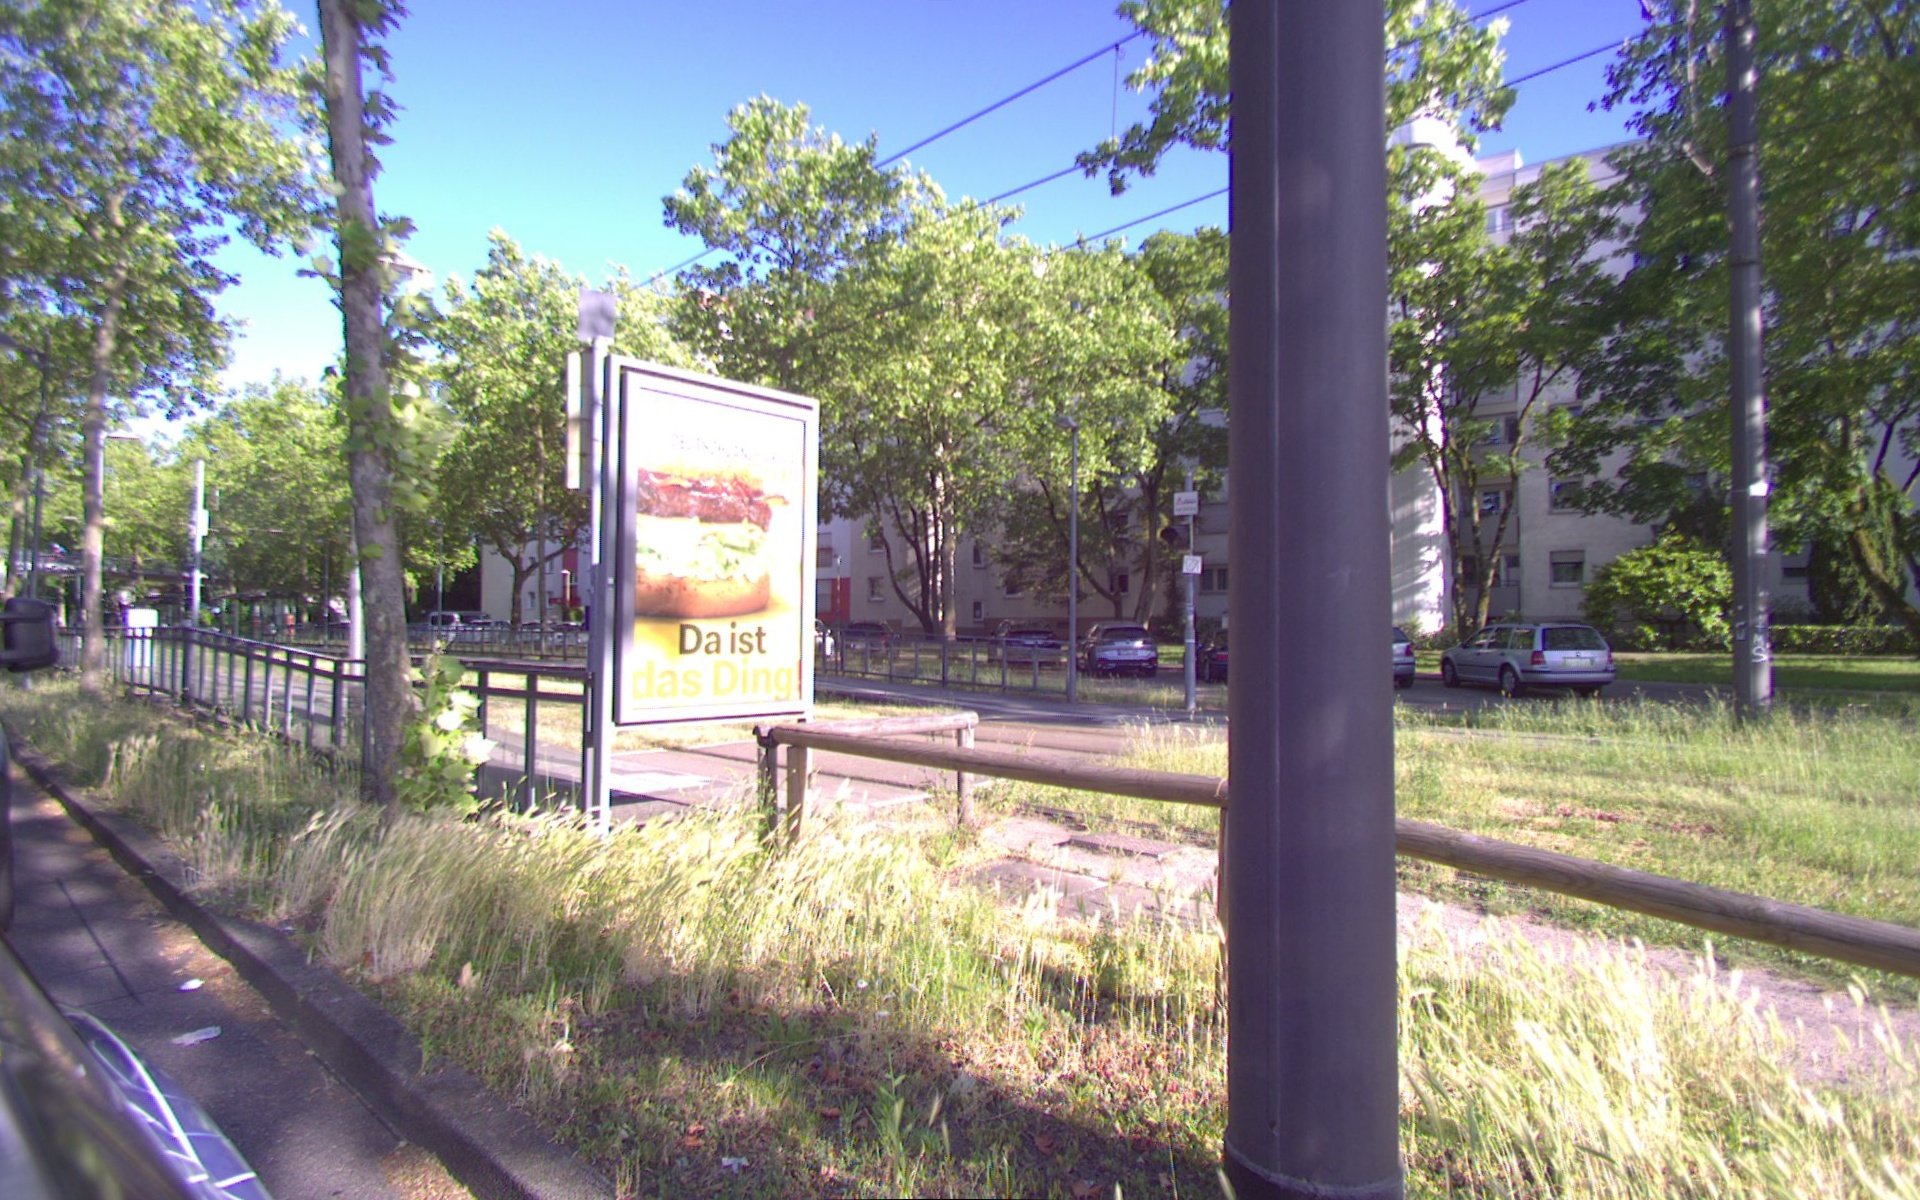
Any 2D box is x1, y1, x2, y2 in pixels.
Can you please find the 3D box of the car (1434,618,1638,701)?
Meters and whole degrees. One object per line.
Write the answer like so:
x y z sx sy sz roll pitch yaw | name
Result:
11.594 1.142 20.737 1.789 1.498 4.049 -1 -1 0 | car

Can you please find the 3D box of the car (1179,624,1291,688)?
6.756 1.337 25.268 1.654 1.398 4.049 -1 -1 0 | car

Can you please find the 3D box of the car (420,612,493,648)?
-28.424 1.669 57.303 1.993 1.934 4.433 -1 -1 -1 | car

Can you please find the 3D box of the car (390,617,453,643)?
-33.005 1.808 62.163 1.770 1.510 4.050 -1 -1 -1 | car

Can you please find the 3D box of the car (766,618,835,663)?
-5.790 1.439 37.072 1.771 1.510 4.047 -1 -1 2 | car

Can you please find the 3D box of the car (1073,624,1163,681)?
4.242 1.374 27.702 1.770 1.398 4.049 -1 -1 0 | car

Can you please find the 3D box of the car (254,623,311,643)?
-53.051 2.549 79.321 1.770 1.510 4.050 -1 -1 -1 | car

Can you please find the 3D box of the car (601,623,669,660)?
-14.219 1.797 44.488 1.770 1.510 4.050 -1 -1 -1 | car

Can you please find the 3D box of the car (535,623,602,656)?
-19.104 1.909 49.565 1.770 1.510 4.050 -1 -1 -1 | car

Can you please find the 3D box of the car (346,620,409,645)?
-37.613 2.101 65.443 1.770 1.510 4.050 -1 -1 -1 | car

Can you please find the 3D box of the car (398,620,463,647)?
-31.003 1.949 59.426 1.770 1.510 4.050 -1 -1 -1 | car

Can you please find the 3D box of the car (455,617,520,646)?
-25.970 1.713 55.744 1.770 1.510 4.050 -1 -1 -1 | car

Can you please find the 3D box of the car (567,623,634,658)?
-16.773 1.850 47.373 1.770 1.510 4.050 -1 -1 -1 | car

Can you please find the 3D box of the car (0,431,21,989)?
-6.571 0.464 5.171 5.659 2.221 2.013 -1 -2 41 | car

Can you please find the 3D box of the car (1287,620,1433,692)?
9.215 1.229 23.682 1.740 1.498 4.049 -1 -1 0 | car

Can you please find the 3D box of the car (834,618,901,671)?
-3.115 1.489 34.806 1.771 1.676 4.047 -1 -1 2 | car

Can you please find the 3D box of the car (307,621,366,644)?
-44.685 2.303 72.616 1.770 1.510 4.050 -1 -1 -1 | car

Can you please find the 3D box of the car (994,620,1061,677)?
1.908 1.370 29.750 1.771 1.510 4.047 -1 -1 2 | car

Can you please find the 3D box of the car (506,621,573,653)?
-21.243 1.864 51.296 1.770 1.510 4.050 -1 -1 -1 | car

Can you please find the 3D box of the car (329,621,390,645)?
-40.123 2.171 67.701 1.770 1.510 4.050 -1 -1 -1 | car
